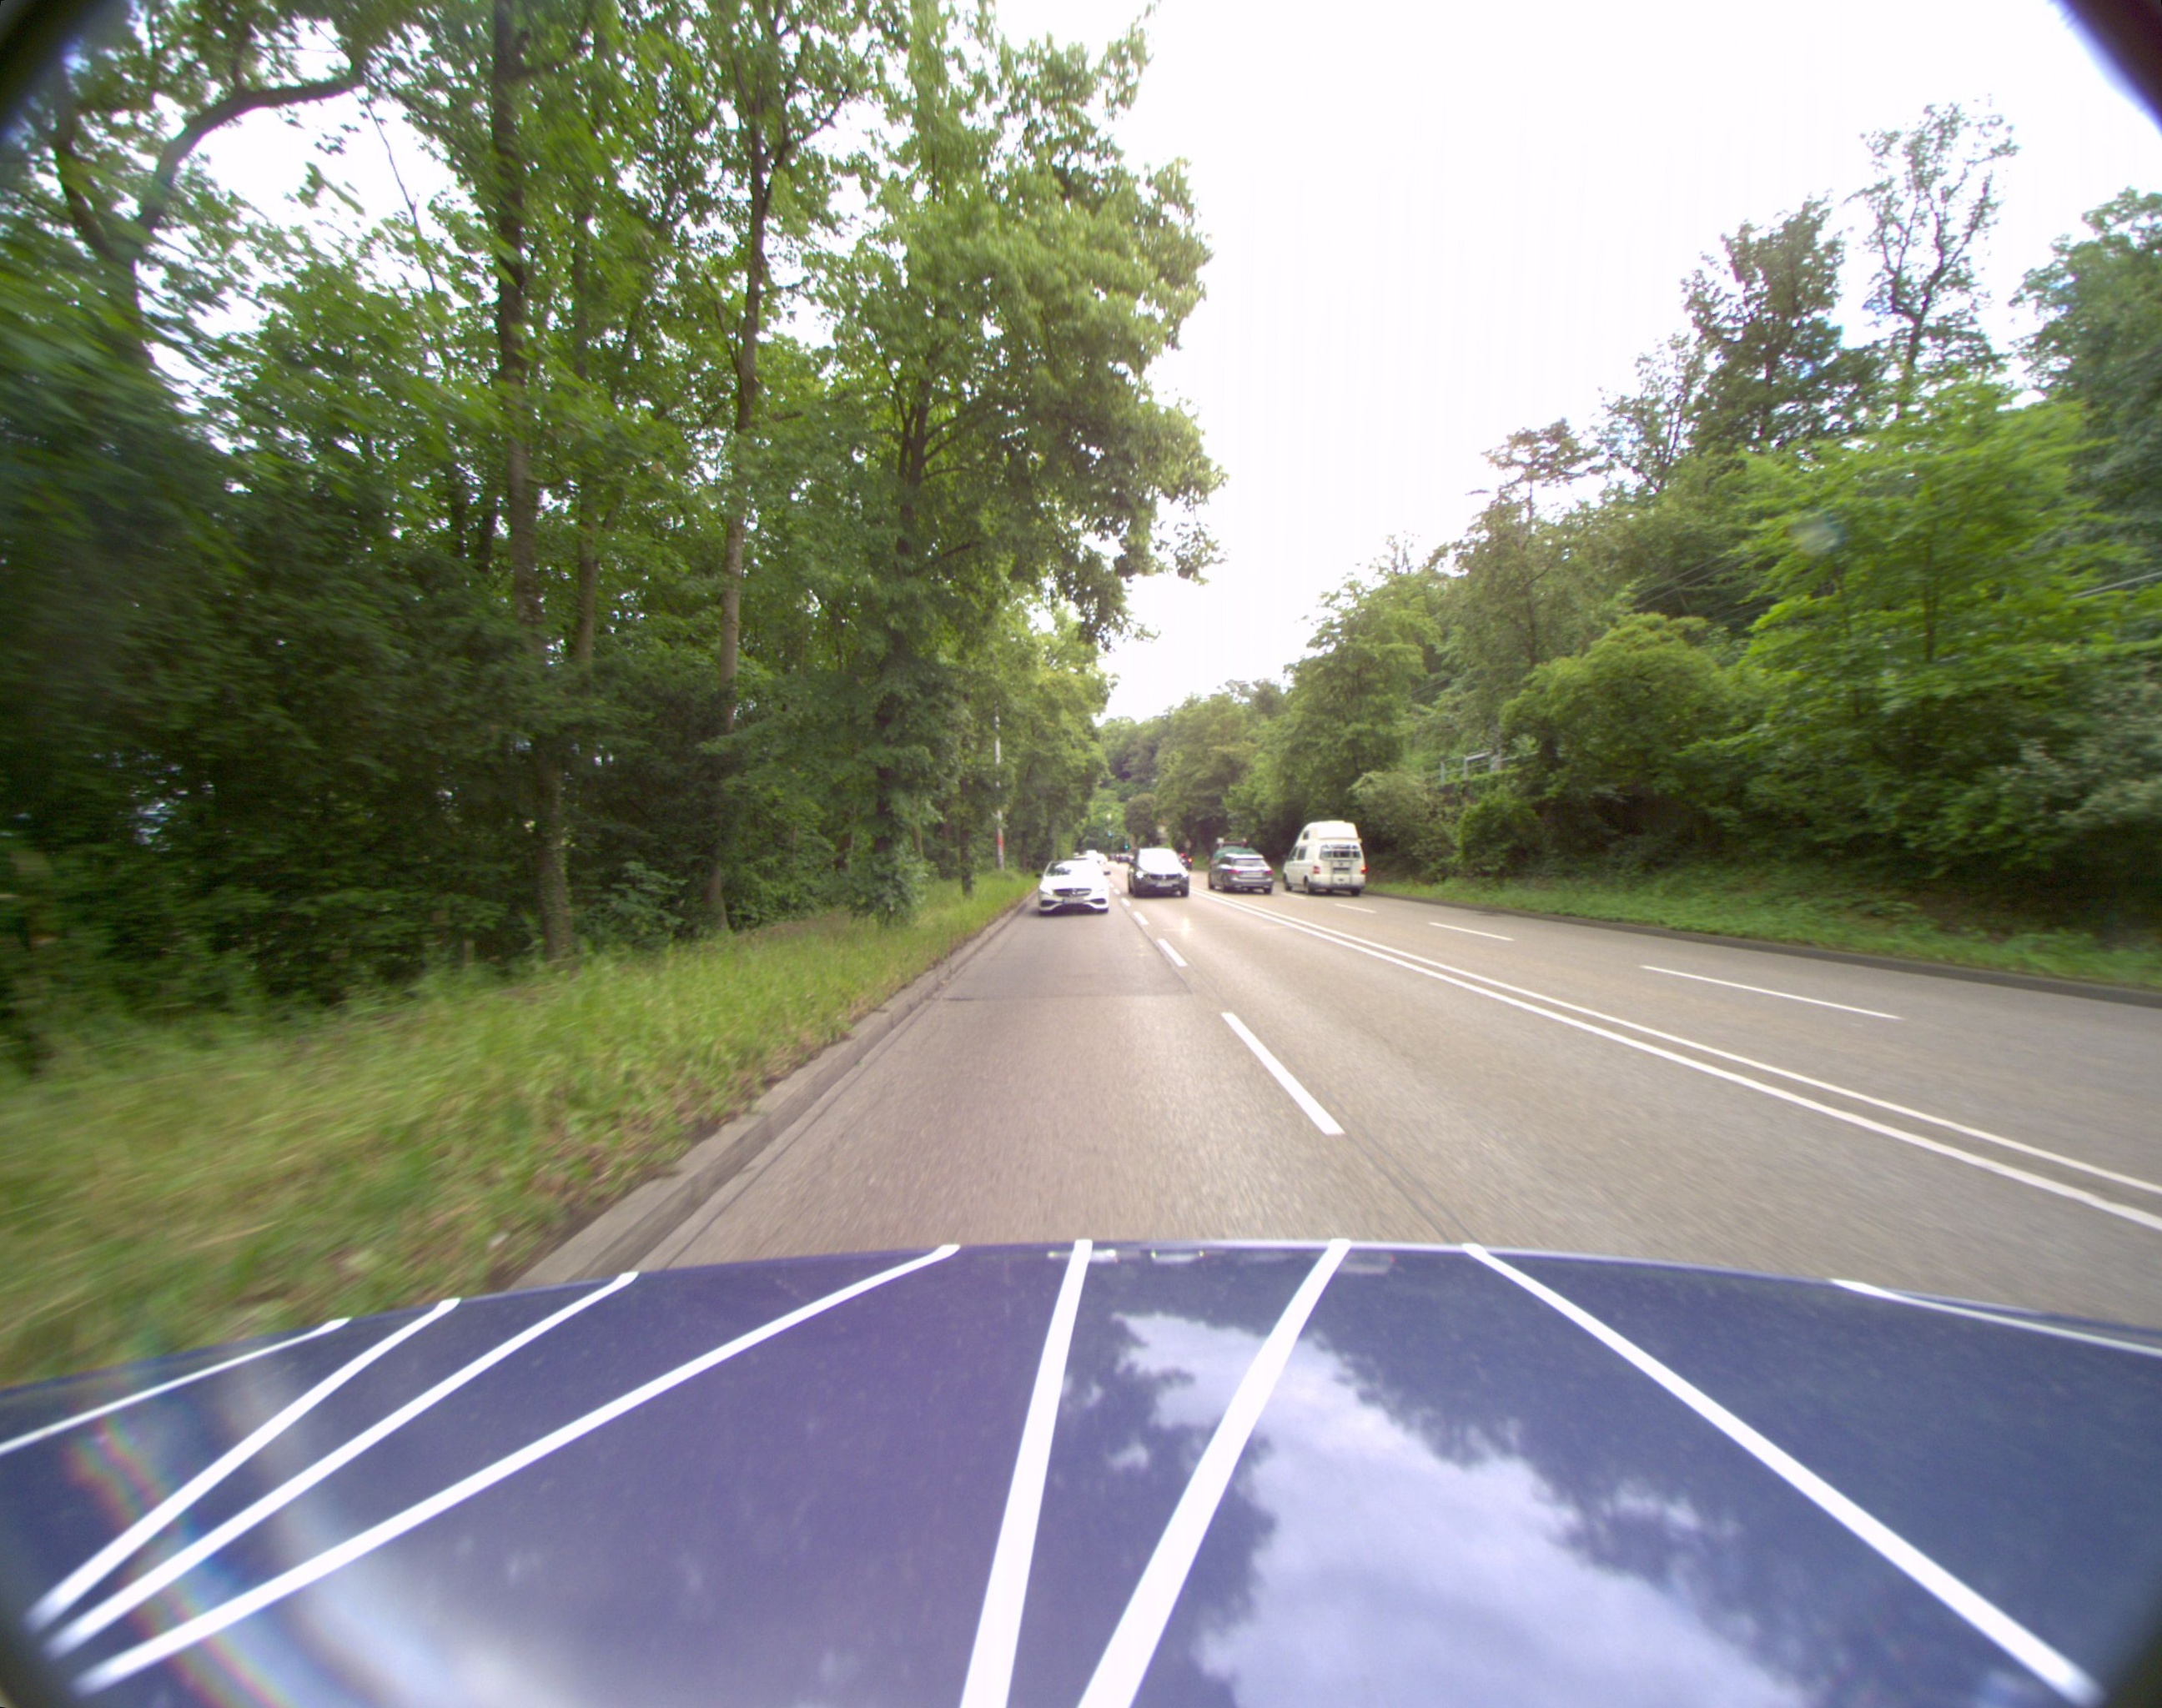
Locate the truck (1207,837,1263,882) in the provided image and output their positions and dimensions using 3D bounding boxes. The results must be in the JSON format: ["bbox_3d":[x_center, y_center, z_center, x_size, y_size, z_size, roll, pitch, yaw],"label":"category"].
[{"bbox_3d":[9.067,0.273,45.352,2.182,2.397,6.465,2,1,2],"label":"truck"}]

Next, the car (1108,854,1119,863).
[{"bbox_3d":[6.025,0.774,140.165,1.802,1.543,3.999,-2,1,0],"label":"car"}]

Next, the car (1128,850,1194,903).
[{"bbox_3d":[2.728,0.723,26.748,1.871,1.653,4.192,1,1,0],"label":"car"}]

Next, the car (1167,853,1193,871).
[{"bbox_3d":[8.719,0.653,67.288,1.674,1.477,3.999,0,1,-1],"label":"car"}]

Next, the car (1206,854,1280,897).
[{"bbox_3d":[6.016,0.746,28.711,1.843,1.457,4.465,0,1,0],"label":"car"}]

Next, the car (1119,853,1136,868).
[{"bbox_3d":[6.360,0.918,104.780,1.691,1.452,3.999,-25,1,1],"label":"car"}]

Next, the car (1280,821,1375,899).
[{"bbox_3d":[8.903,0.172,27.913,1.892,2.541,4.914,1,1,1],"label":"car"}]

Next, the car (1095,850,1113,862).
[{"bbox_3d":[3.422,0.305,113.694,1.699,1.733,3.996,-2,1,-11],"label":"car"}]

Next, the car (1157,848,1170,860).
[{"bbox_3d":[12.860,-0.047,118.692,1.662,1.762,4.134,1,1,0],"label":"car"}]

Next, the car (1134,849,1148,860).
[{"bbox_3d":[9.158,0.057,116.520,1.737,1.502,4.432,1,1,1],"label":"car"}]
